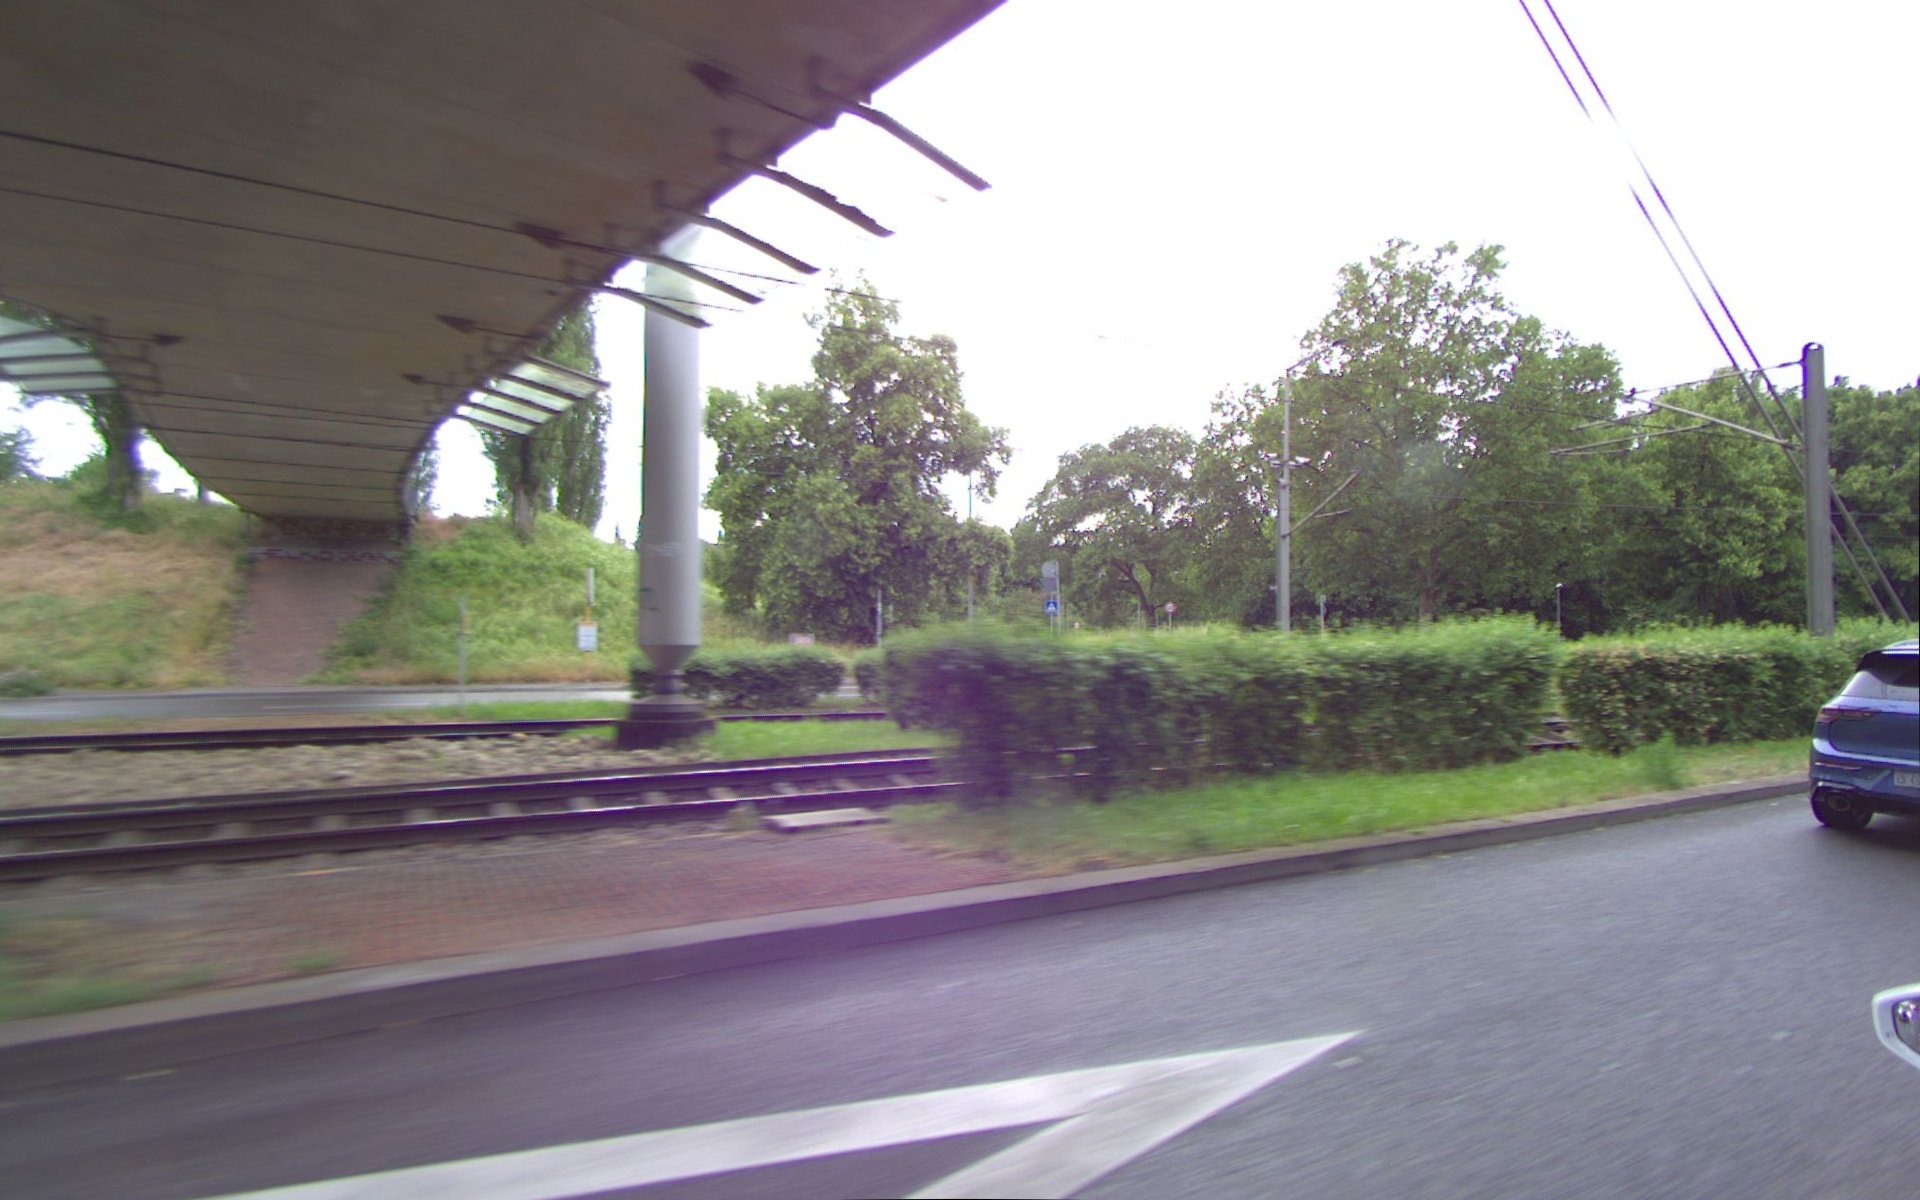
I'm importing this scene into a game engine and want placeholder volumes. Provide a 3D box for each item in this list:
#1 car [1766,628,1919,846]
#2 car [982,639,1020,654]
[{"bbox_3d":[8.136,0.977,7.596,4.297,1.397,1.799,2,-1,-31],"label":"car"},{"bbox_3d":[4.329,4.905,104.930,1.859,1.386,3.982,2,-2,40],"label":"car"}]
